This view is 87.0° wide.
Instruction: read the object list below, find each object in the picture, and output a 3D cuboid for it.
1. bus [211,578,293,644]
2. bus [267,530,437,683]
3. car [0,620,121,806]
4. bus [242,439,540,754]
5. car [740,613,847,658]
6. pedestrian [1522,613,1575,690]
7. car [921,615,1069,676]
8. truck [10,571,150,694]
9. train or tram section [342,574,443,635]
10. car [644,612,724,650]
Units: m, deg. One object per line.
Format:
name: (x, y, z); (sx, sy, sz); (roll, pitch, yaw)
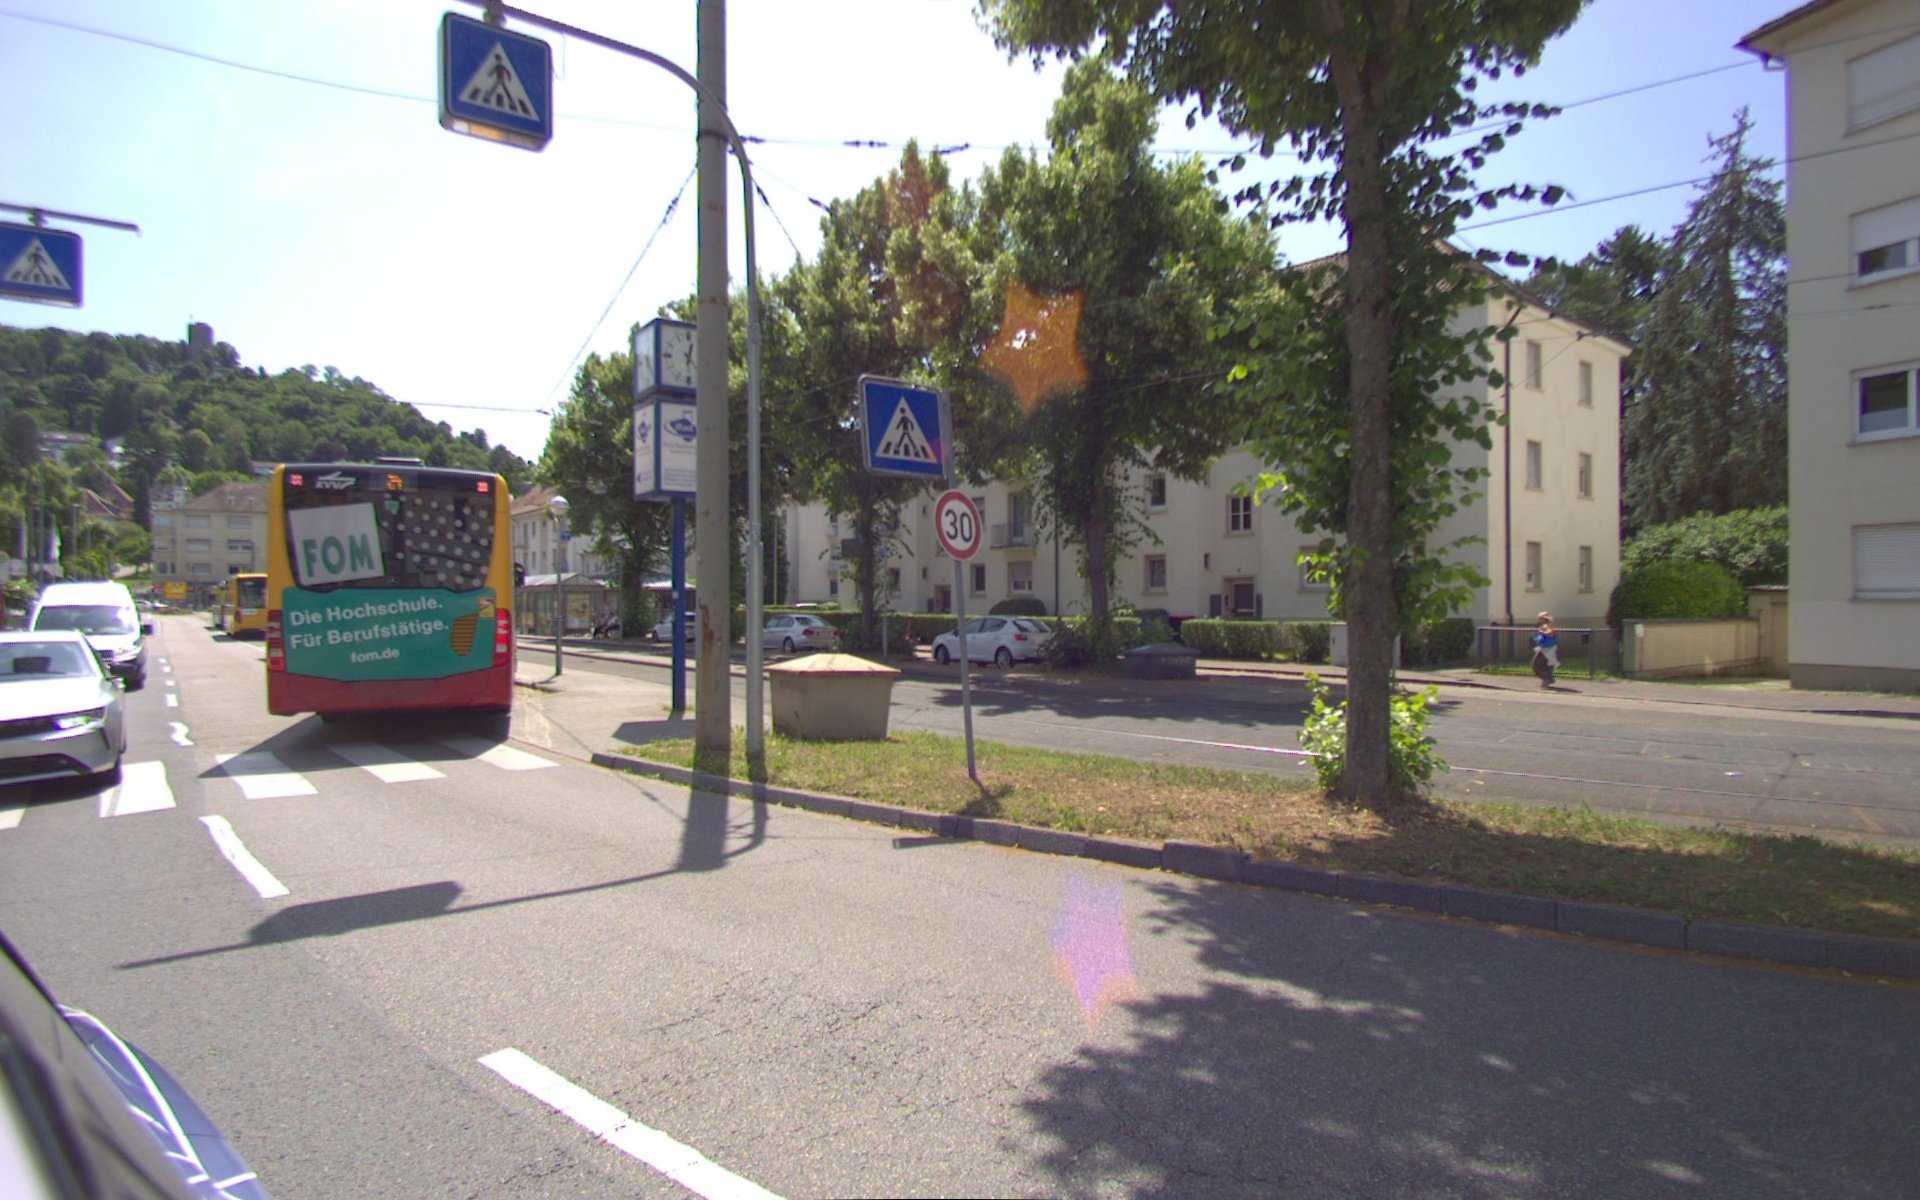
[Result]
bus: (-37.757, 0.600, 53.762); (2.536, 3.213, 10.170); (0, -1, -41)
bus: (-18.197, 0.232, 29.749); (2.654, 3.634, 12.231); (0, -1, -39)
car: (-9.271, 0.989, 9.754); (1.774, 1.477, 4.178); (-3, 1, -40)
bus: (-8.298, 0.000, 16.214); (2.661, 3.322, 10.894); (-1, 0, -21)
car: (-5.945, 1.203, 35.843); (1.816, 1.493, 4.264); (0, 0, -41)
pedestrian: (12.448, 1.064, 21.410); (0.765, 1.571, 0.745); (-1, 0, -41)
car: (0.880, 1.171, 27.395); (1.816, 1.493, 3.962); (0, 0, -41)
truck: (-18.437, 0.649, 21.283); (1.990, 2.266, 5.416); (0, -1, -41)
train or tram section: (-36.589, 0.237, 64.841); (2.854, 3.547, 13.923); (-1, 0, -41)
car: (-11.830, 1.284, 43.270); (1.816, 1.493, 3.879); (0, 0, -41)
